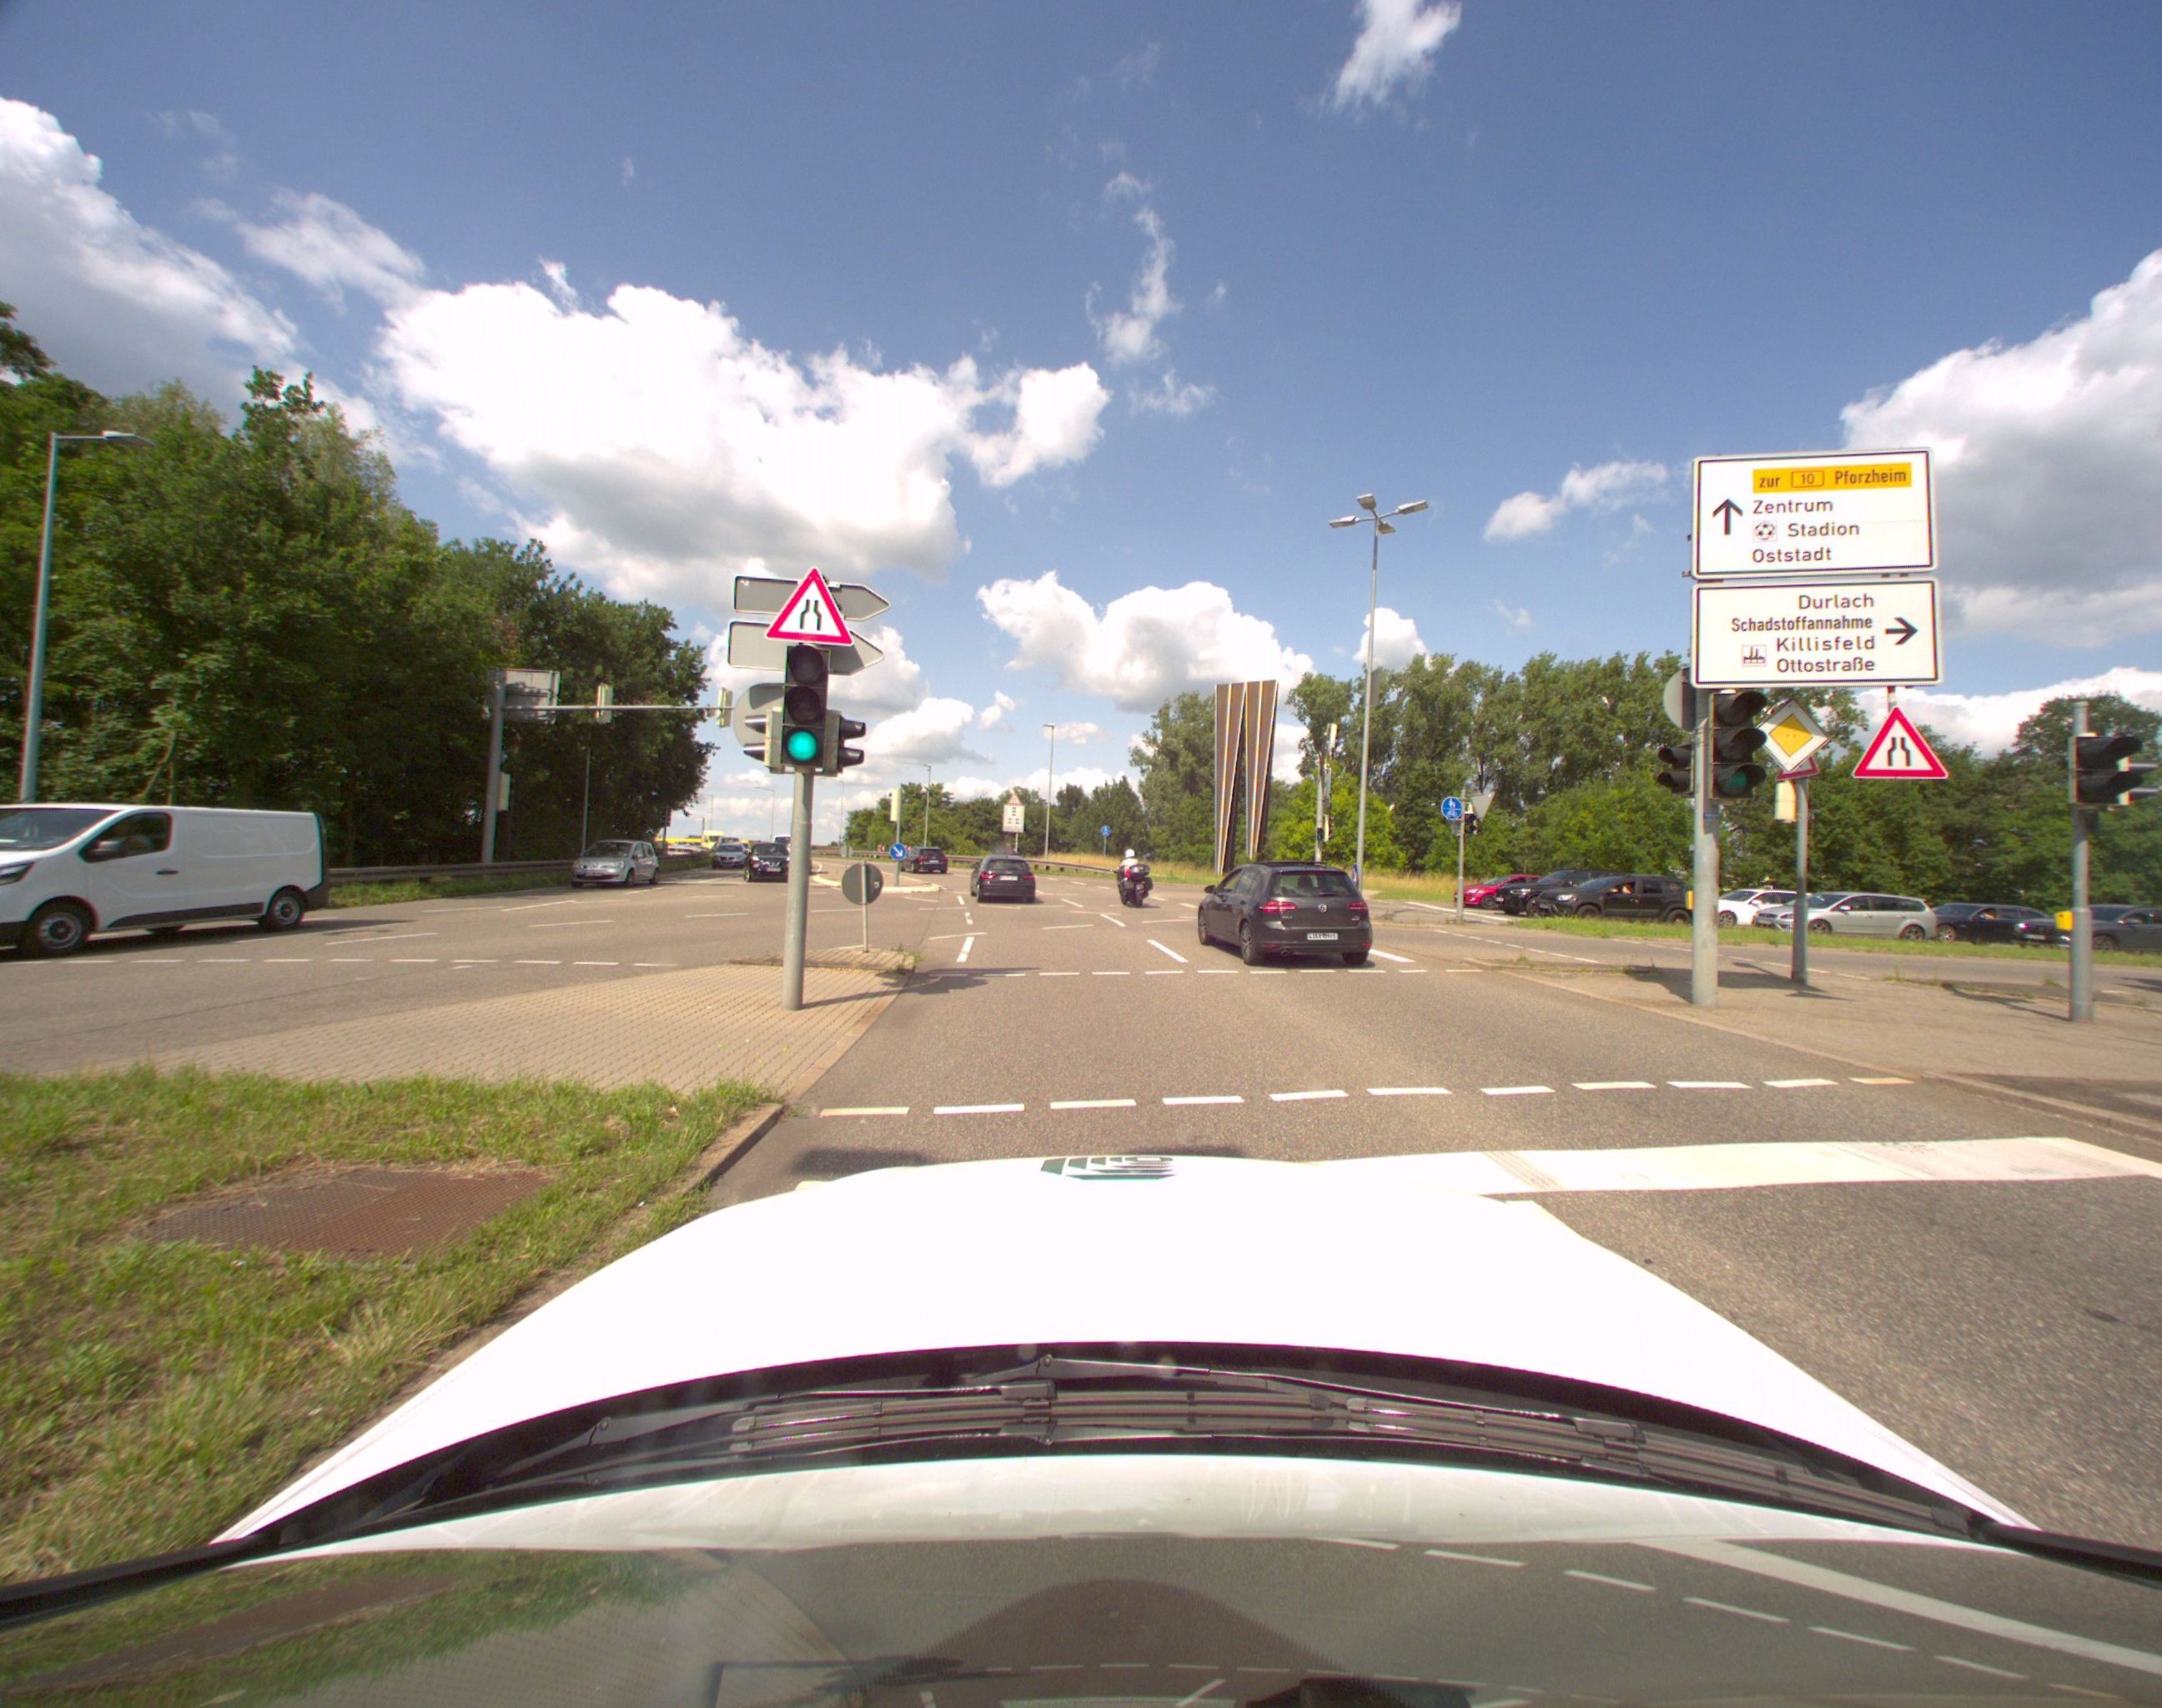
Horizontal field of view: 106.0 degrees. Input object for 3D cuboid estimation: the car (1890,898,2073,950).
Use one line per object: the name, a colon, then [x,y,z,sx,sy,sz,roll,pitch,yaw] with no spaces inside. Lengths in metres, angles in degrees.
car: [30.269,2.332,27.467,4.186,1.375,1.702,3,0,2]

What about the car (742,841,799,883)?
car: [-12.401,0.283,32.385,1.707,1.557,3.789,1,0,-27]

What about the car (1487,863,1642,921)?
car: [16.535,1.275,28.002,4.186,1.645,1.839,3,0,2]

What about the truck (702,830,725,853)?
truck: [-41.886,-1.442,92.762,2.005,2.620,6.049,-1,1,-28]

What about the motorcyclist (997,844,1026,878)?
motorcyclist: [-3.348,0.344,39.274,0.971,1.596,1.115,2,-1,-28]

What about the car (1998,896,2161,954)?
car: [29.975,2.094,23.856,4.021,1.375,1.881,3,0,2]

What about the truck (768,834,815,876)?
truck: [-14.215,0.007,40.184,1.966,1.913,5.337,1,0,-18]

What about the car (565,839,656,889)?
car: [-15.590,0.287,27.172,1.737,1.521,4.044,-1,0,-17]

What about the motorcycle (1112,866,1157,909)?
motorcycle: [1.540,0.956,23.881,0.789,1.132,2.391,2,0,-10]

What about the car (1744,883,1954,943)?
car: [22.395,1.700,23.869,4.510,1.375,1.647,3,0,2]

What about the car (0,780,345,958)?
car: [-13.512,0.188,11.482,1.991,2.014,5.124,0,0,-6]

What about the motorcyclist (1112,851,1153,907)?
motorcyclist: [1.511,0.727,24.108,0.966,1.620,1.121,2,-1,-10]

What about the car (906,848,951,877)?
car: [-8.341,0.429,44.390,1.649,1.479,3.843,1,-1,-22]

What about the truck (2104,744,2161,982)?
truck: [18.266,0.159,11.790,2.841,3.903,5.913,4,-1,38]

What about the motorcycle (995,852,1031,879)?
motorcycle: [-3.289,0.535,39.156,0.892,1.247,2.378,2,0,-27]

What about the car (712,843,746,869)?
car: [-20.956,0.095,48.602,1.689,1.478,4.679,0,0,-21]

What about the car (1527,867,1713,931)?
car: [15.895,1.299,24.200,4.264,1.617,1.846,3,-1,2]

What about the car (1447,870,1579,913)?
car: [16.794,1.435,31.818,4.186,1.375,1.760,3,0,2]

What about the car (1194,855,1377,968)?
car: [3.015,0.785,12.823,1.639,1.479,3.866,1,0,-5]

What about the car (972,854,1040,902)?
car: [-2.398,0.701,25.398,1.683,1.388,3.723,0,-1,-12]

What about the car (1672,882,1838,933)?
car: [22.867,1.799,27.735,4.186,1.375,1.647,3,0,2]
